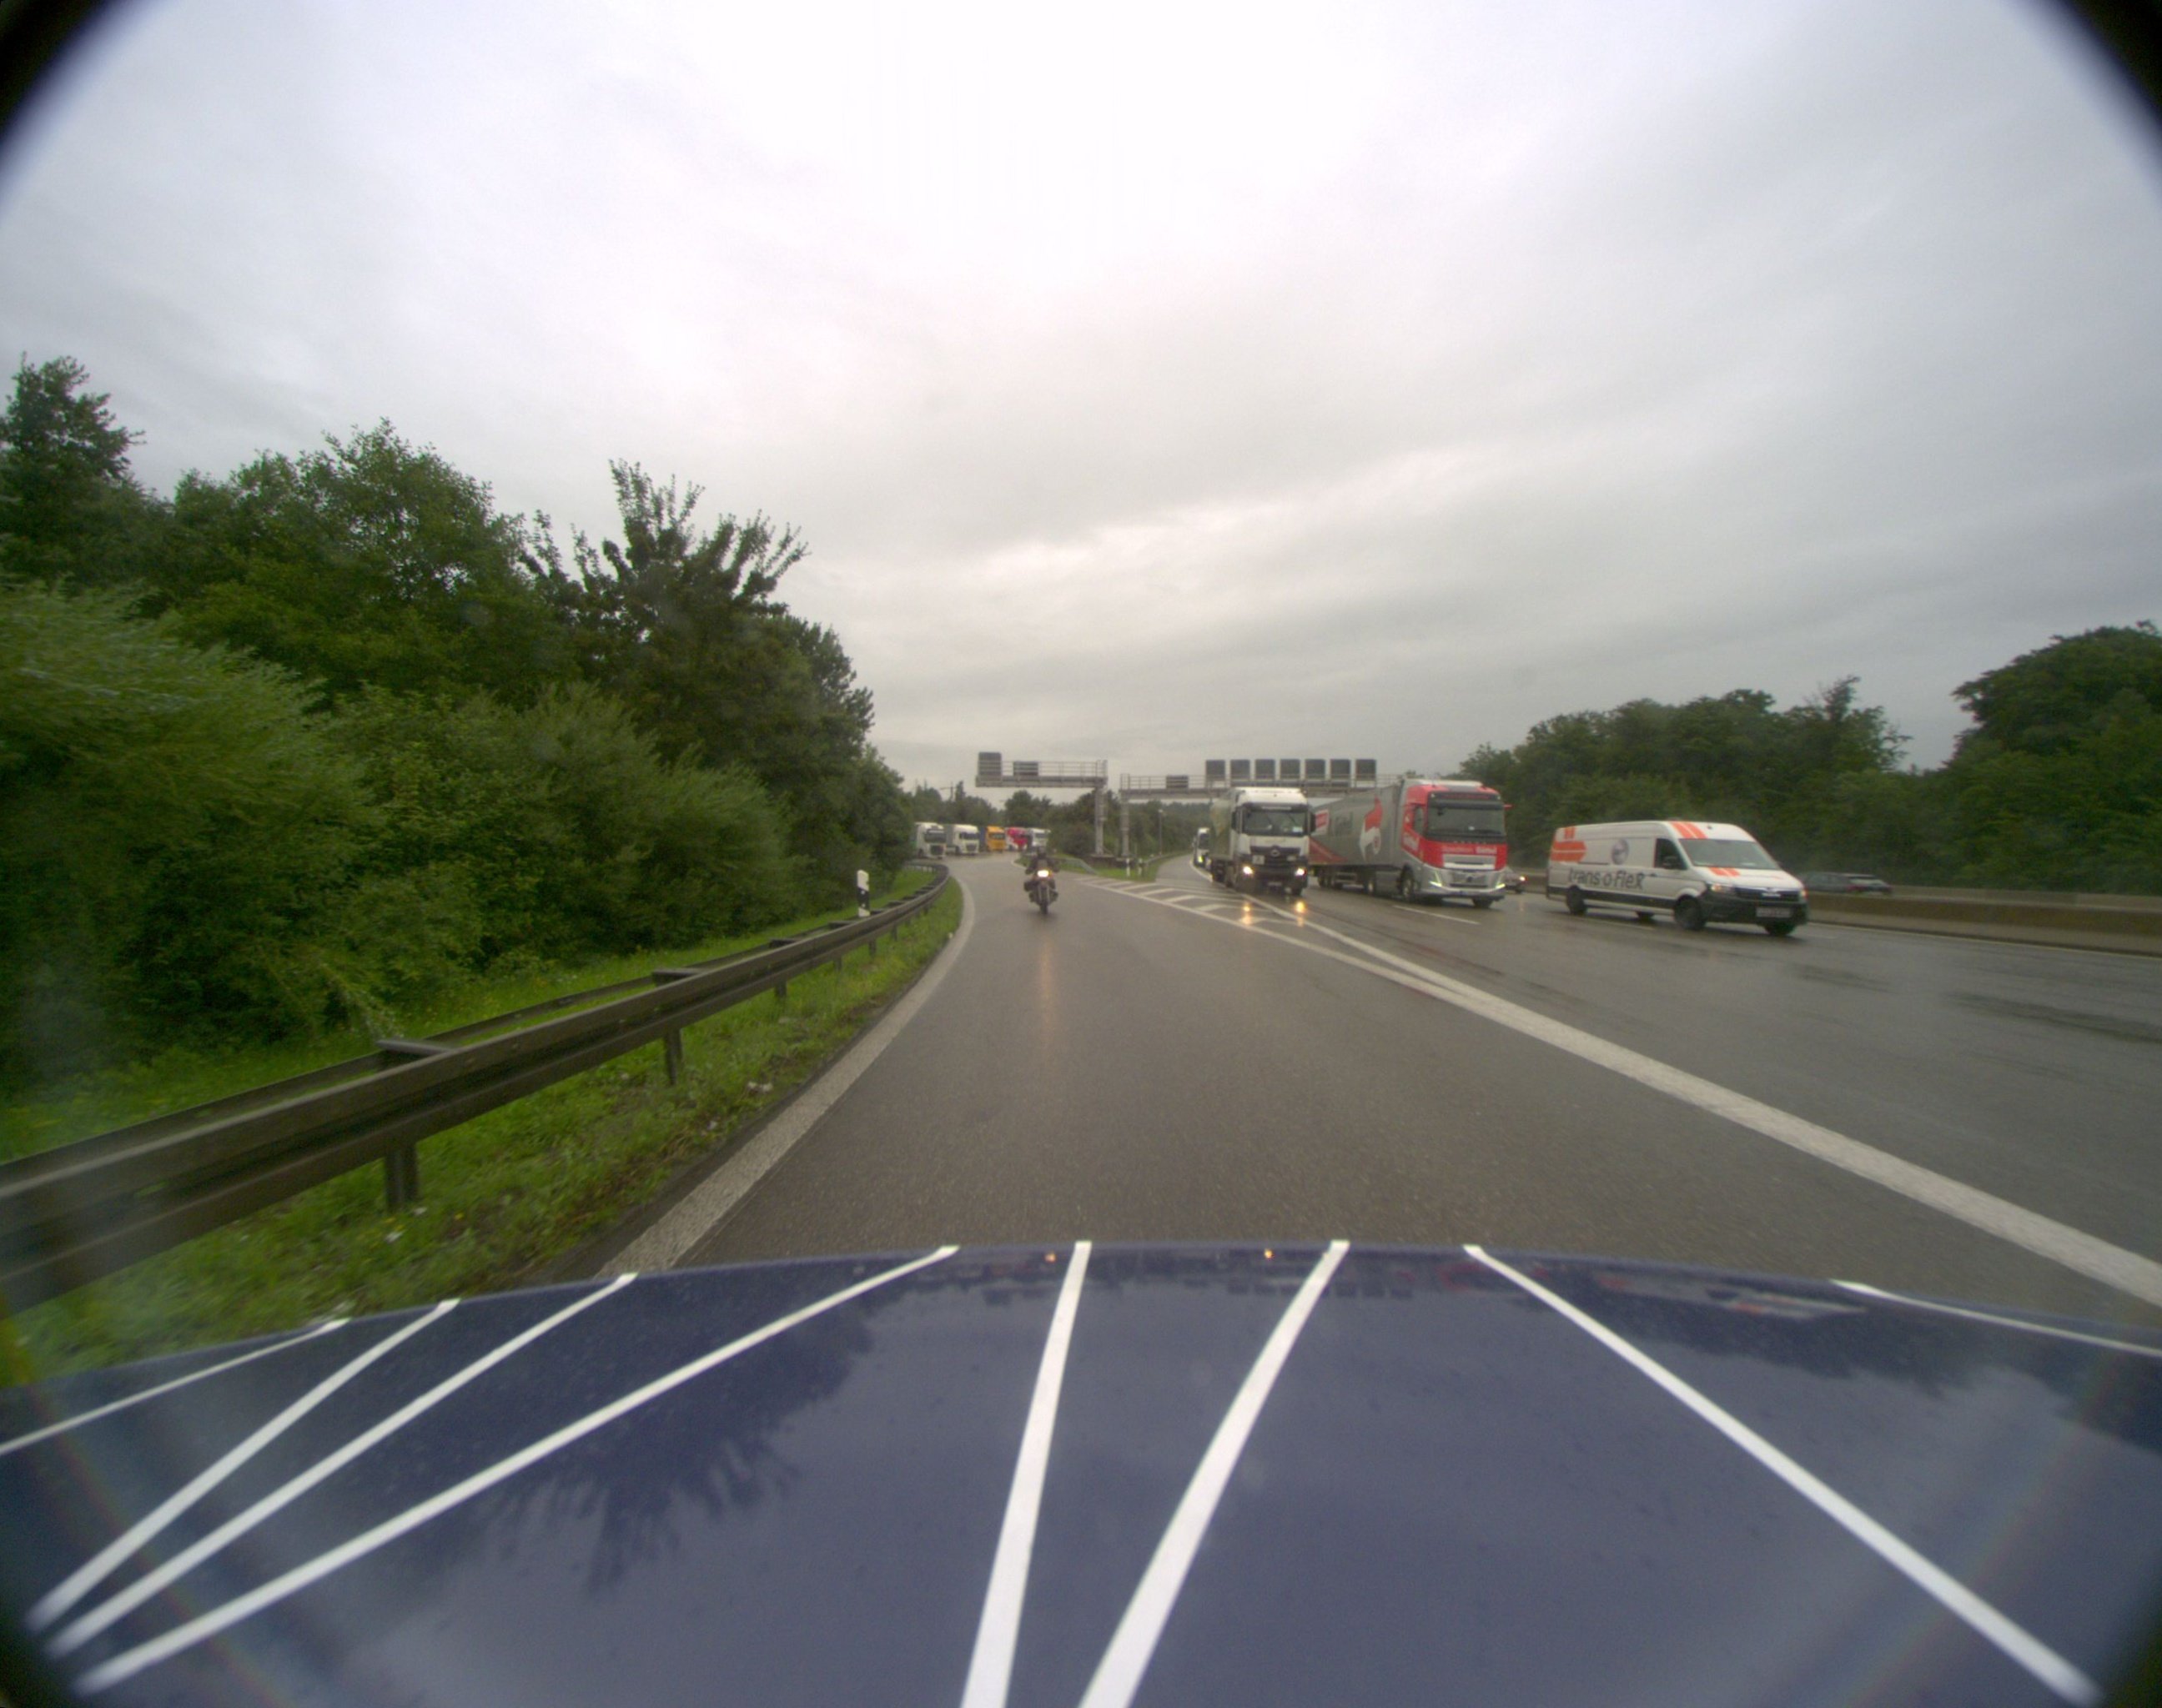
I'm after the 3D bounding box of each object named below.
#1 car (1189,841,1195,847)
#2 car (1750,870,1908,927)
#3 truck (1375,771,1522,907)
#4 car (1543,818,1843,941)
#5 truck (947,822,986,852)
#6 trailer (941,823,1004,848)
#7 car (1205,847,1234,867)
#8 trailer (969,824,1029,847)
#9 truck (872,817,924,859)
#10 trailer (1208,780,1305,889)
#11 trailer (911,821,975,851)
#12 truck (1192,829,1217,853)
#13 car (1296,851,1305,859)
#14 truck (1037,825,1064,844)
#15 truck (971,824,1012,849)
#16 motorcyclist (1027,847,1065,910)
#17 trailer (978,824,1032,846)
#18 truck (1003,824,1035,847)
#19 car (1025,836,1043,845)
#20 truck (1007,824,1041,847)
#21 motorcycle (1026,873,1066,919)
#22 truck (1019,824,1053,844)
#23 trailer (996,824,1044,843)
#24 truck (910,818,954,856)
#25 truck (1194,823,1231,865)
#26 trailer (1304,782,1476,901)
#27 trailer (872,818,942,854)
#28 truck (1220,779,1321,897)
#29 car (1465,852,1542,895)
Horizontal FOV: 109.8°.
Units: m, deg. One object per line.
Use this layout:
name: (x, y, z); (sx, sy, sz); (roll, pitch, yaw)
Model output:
car: (32.879, -2.967, 225.654); (1.817, 1.747, 4.688); (0, 1, 8)
car: (30.112, 1.718, 30.851); (1.998, 2.002, 4.739); (-1, 1, 5)
truck: (11.418, -0.463, 24.100); (2.632, 3.842, 4.590); (1, 1, 5)
car: (14.666, 0.461, 19.128); (2.152, 2.474, 7.367); (1, 1, 6)
truck: (-15.471, -2.355, 102.122); (2.836, 3.891, 5.395); (-1, 2, -38)
trailer: (-18.233, -3.178, 125.876); (2.874, 3.897, 16.584); (0, 2, -37)
car: (11.275, 0.177, 62.010); (1.931, 1.514, 4.764); (1, 1, 6)
trailer: (-15.226, -3.498, 139.208); (3.252, 3.897, 14.785); (-1, 2, -40)
truck: (-18.662, -1.702, 77.259); (2.832, 4.127, 5.979); (-1, 3, -39)
trailer: (7.900, -0.905, 36.141); (2.924, 4.181, 13.640); (1, 1, 7)
trailer: (-19.790, -2.671, 107.689); (2.850, 3.897, 13.913); (0, 2, -38)
truck: (20.964, -2.322, 129.292); (3.535, 3.826, 9.437); (-2, 2, 7)
car: (59.371, 0.227, 205.815); (1.996, 2.002, 4.579); (-1, 1, 13)
truck: (-6.926, -4.402, 171.719); (3.252, 4.362, 5.796); (-2, 3, -40)
truck: (-14.281, -2.831, 120.518); (2.846, 3.897, 8.106); (0, 2, -36)
motorcyclist: (-0.925, 0.619, 19.673); (0.878, 1.559, 1.372); (1, 1, -6)
trailer: (-14.576, -3.703, 143.890); (2.882, 3.897, 13.893); (-1, 2, -40)
truck: (-10.901, -3.221, 134.057); (3.252, 3.897, 5.006); (-1, 3, -40)
car: (-9.678, -2.880, 156.887); (1.852, 1.848, 3.988); (-1, 2, -38)
truck: (-10.457, -3.418, 138.982); (2.905, 3.897, 6.536); (-1, 3, -40)
motorcycle: (-0.941, 1.058, 19.774); (0.878, 1.016, 2.351); (1, 1, -6)
truck: (-9.678, -4.366, 163.139); (3.252, 4.069, 7.914); (-1, 3, -40)
trailer: (-13.541, -4.565, 167.750); (3.252, 4.068, 13.492); (-1, 2, -40)
truck: (-17.039, -1.989, 86.728); (2.832, 4.123, 5.287); (-1, 3, -37)
truck: (13.910, -1.208, 81.384); (3.353, 4.048, 12.576); (-2, 2, 8)
trailer: (12.117, -0.486, 31.720); (2.632, 3.842, 13.680); (1, 1, 5)
trailer: (-21.402, -2.290, 92.493); (2.832, 4.148, 13.952); (-1, 3, -37)
truck: (7.168, -0.633, 29.719); (2.924, 4.076, 6.721); (1, 1, 7)
car: (20.189, 0.892, 36.470); (1.754, 1.762, 4.000); (-2, 2, 6)
